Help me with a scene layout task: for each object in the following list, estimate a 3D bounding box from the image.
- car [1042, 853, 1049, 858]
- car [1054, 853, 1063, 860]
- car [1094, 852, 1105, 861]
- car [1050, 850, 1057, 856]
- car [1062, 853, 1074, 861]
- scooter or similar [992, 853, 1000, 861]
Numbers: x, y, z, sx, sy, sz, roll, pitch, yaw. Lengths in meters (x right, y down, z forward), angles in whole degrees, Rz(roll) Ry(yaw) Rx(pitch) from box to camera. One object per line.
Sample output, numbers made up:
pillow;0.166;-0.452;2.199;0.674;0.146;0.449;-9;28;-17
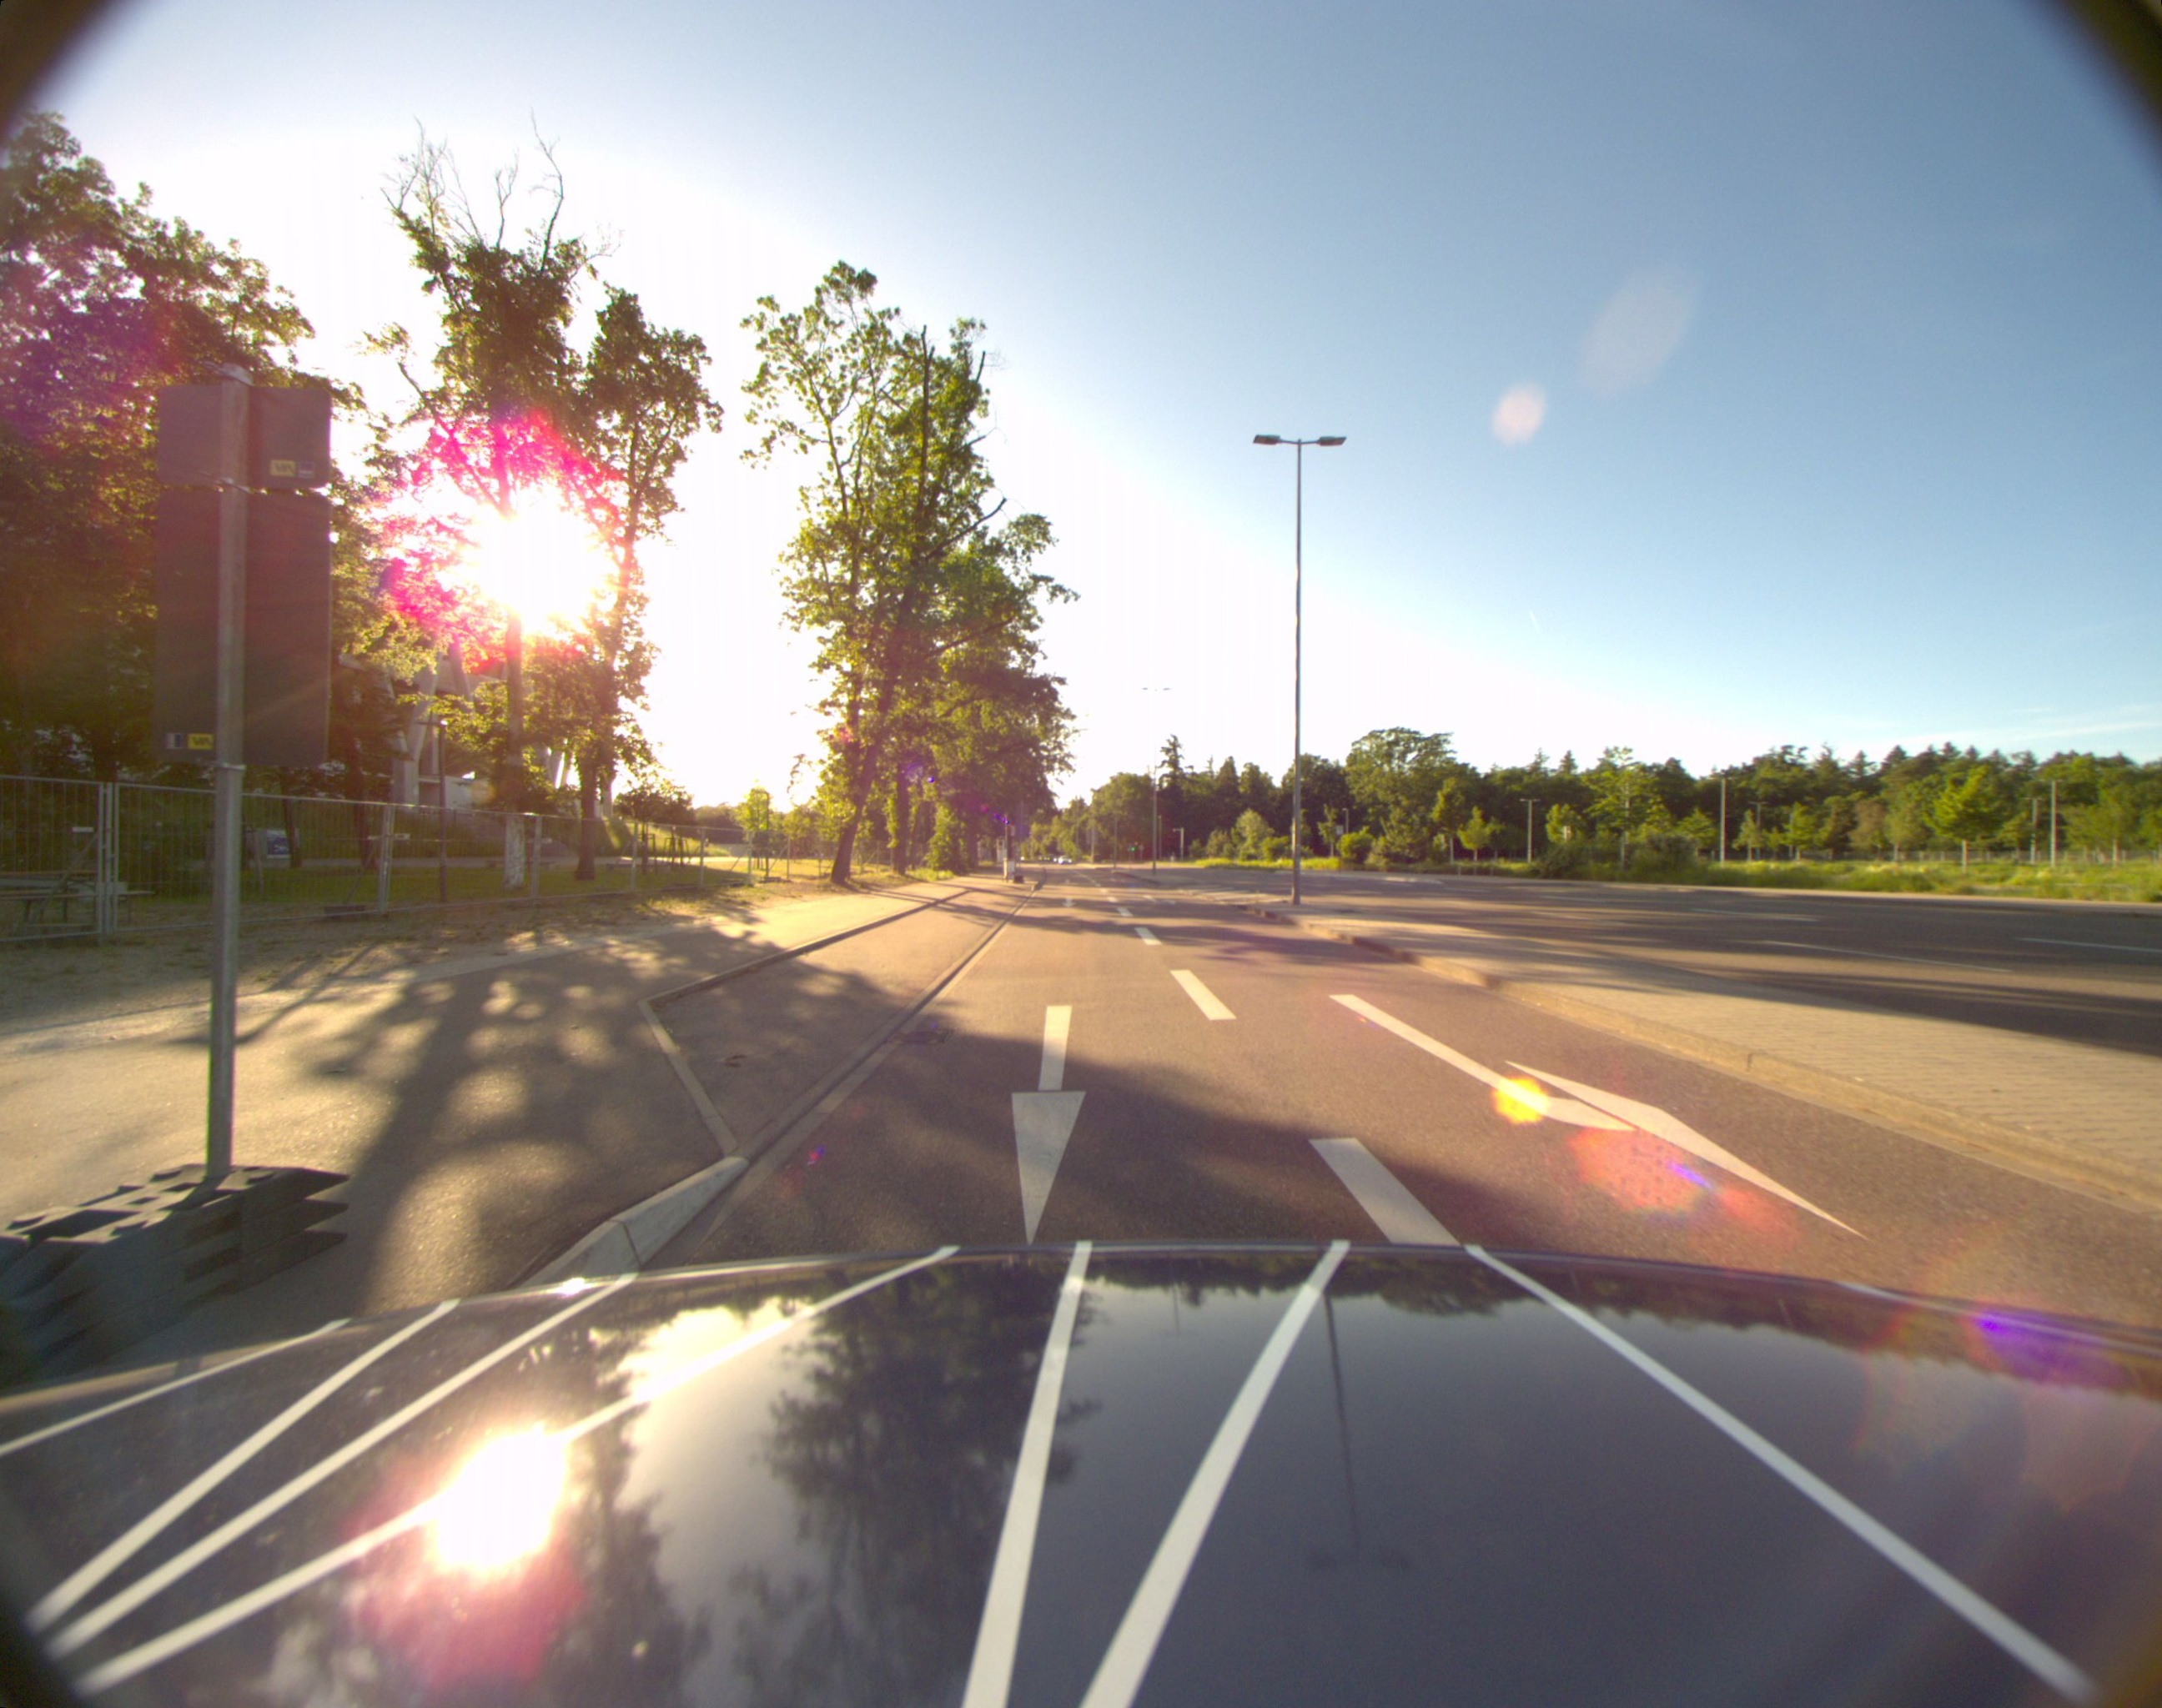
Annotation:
car;-10.407;0.397;222.682;1.842;1.395;4.989;-1;0;-5
car;-4.643;0.430;155.927;1.841;1.395;4.990;-1;0;-3
car;3.852;0.544;159.434;1.788;1.682;4.701;-1;0;-3
car;-6.964;-0.180;191.994;1.841;1.395;4.991;1;0;-1
car;-2.191;0.477;127.894;1.841;1.395;3.999;-1;0;-3
scooter or similar;-13.529;0.507;121.254;1.303;1.230;0.334;0;0;-38
